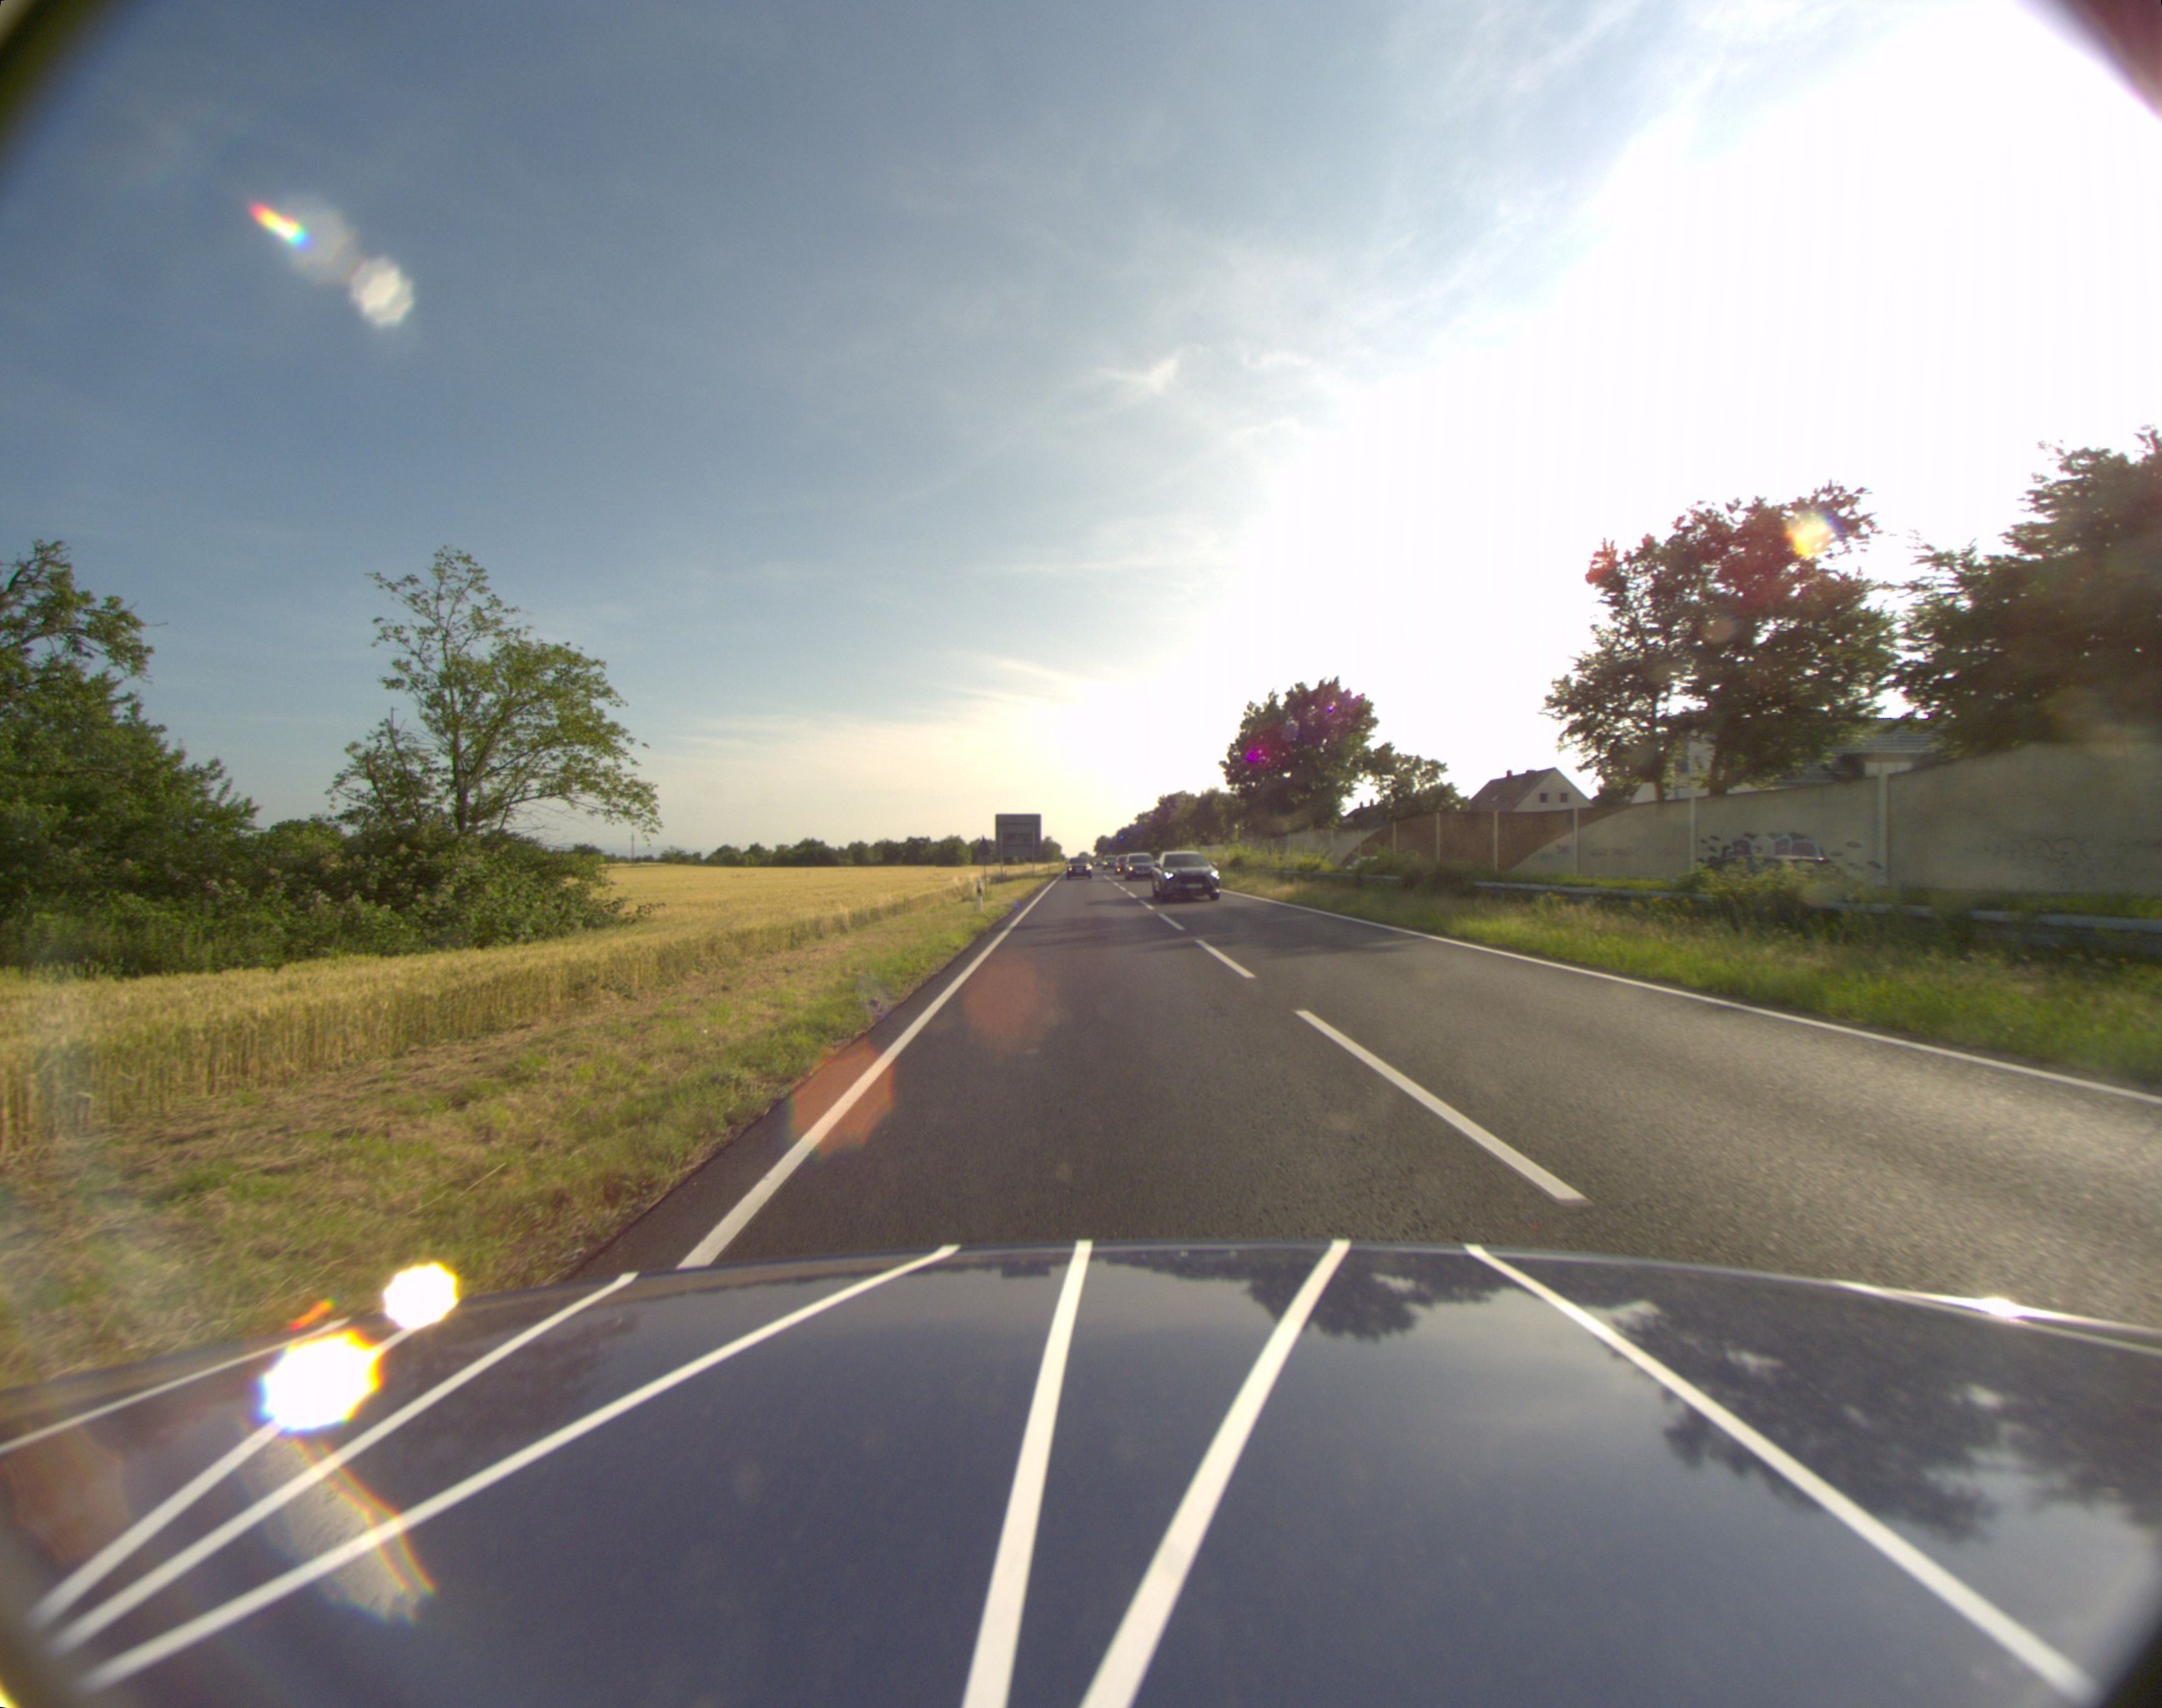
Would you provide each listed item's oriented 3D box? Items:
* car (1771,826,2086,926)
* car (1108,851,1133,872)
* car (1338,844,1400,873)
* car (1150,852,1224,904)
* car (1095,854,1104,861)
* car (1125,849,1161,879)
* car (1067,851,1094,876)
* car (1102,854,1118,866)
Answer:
[{"bbox_3d":[16.676,0.375,15.321,1.840,1.682,3.999,-2,0,-1],"label":"car"},{"bbox_3d":[3.338,0.642,64.352,1.822,1.661,3.999,-2,0,0],"label":"car"},{"bbox_3d":[15.696,0.231,41.614,1.759,1.433,3.999,-2,0,-1],"label":"car"},{"bbox_3d":[3.457,0.723,25.470,1.822,1.516,4.246,-2,0,0],"label":"car"},{"bbox_3d":[3.667,0.695,151.051,1.693,1.397,3.999,-2,0,-1],"label":"car"},{"bbox_3d":[3.796,0.587,47.111,1.822,1.724,4.000,-2,0,0],"label":"car"},{"bbox_3d":[-0.047,0.650,54.187,1.822,1.661,3.999,-2,0,-1],"label":"car"},{"bbox_3d":[3.522,0.722,92.481,1.700,1.456,3.646,-2,0,-1],"label":"car"}]
